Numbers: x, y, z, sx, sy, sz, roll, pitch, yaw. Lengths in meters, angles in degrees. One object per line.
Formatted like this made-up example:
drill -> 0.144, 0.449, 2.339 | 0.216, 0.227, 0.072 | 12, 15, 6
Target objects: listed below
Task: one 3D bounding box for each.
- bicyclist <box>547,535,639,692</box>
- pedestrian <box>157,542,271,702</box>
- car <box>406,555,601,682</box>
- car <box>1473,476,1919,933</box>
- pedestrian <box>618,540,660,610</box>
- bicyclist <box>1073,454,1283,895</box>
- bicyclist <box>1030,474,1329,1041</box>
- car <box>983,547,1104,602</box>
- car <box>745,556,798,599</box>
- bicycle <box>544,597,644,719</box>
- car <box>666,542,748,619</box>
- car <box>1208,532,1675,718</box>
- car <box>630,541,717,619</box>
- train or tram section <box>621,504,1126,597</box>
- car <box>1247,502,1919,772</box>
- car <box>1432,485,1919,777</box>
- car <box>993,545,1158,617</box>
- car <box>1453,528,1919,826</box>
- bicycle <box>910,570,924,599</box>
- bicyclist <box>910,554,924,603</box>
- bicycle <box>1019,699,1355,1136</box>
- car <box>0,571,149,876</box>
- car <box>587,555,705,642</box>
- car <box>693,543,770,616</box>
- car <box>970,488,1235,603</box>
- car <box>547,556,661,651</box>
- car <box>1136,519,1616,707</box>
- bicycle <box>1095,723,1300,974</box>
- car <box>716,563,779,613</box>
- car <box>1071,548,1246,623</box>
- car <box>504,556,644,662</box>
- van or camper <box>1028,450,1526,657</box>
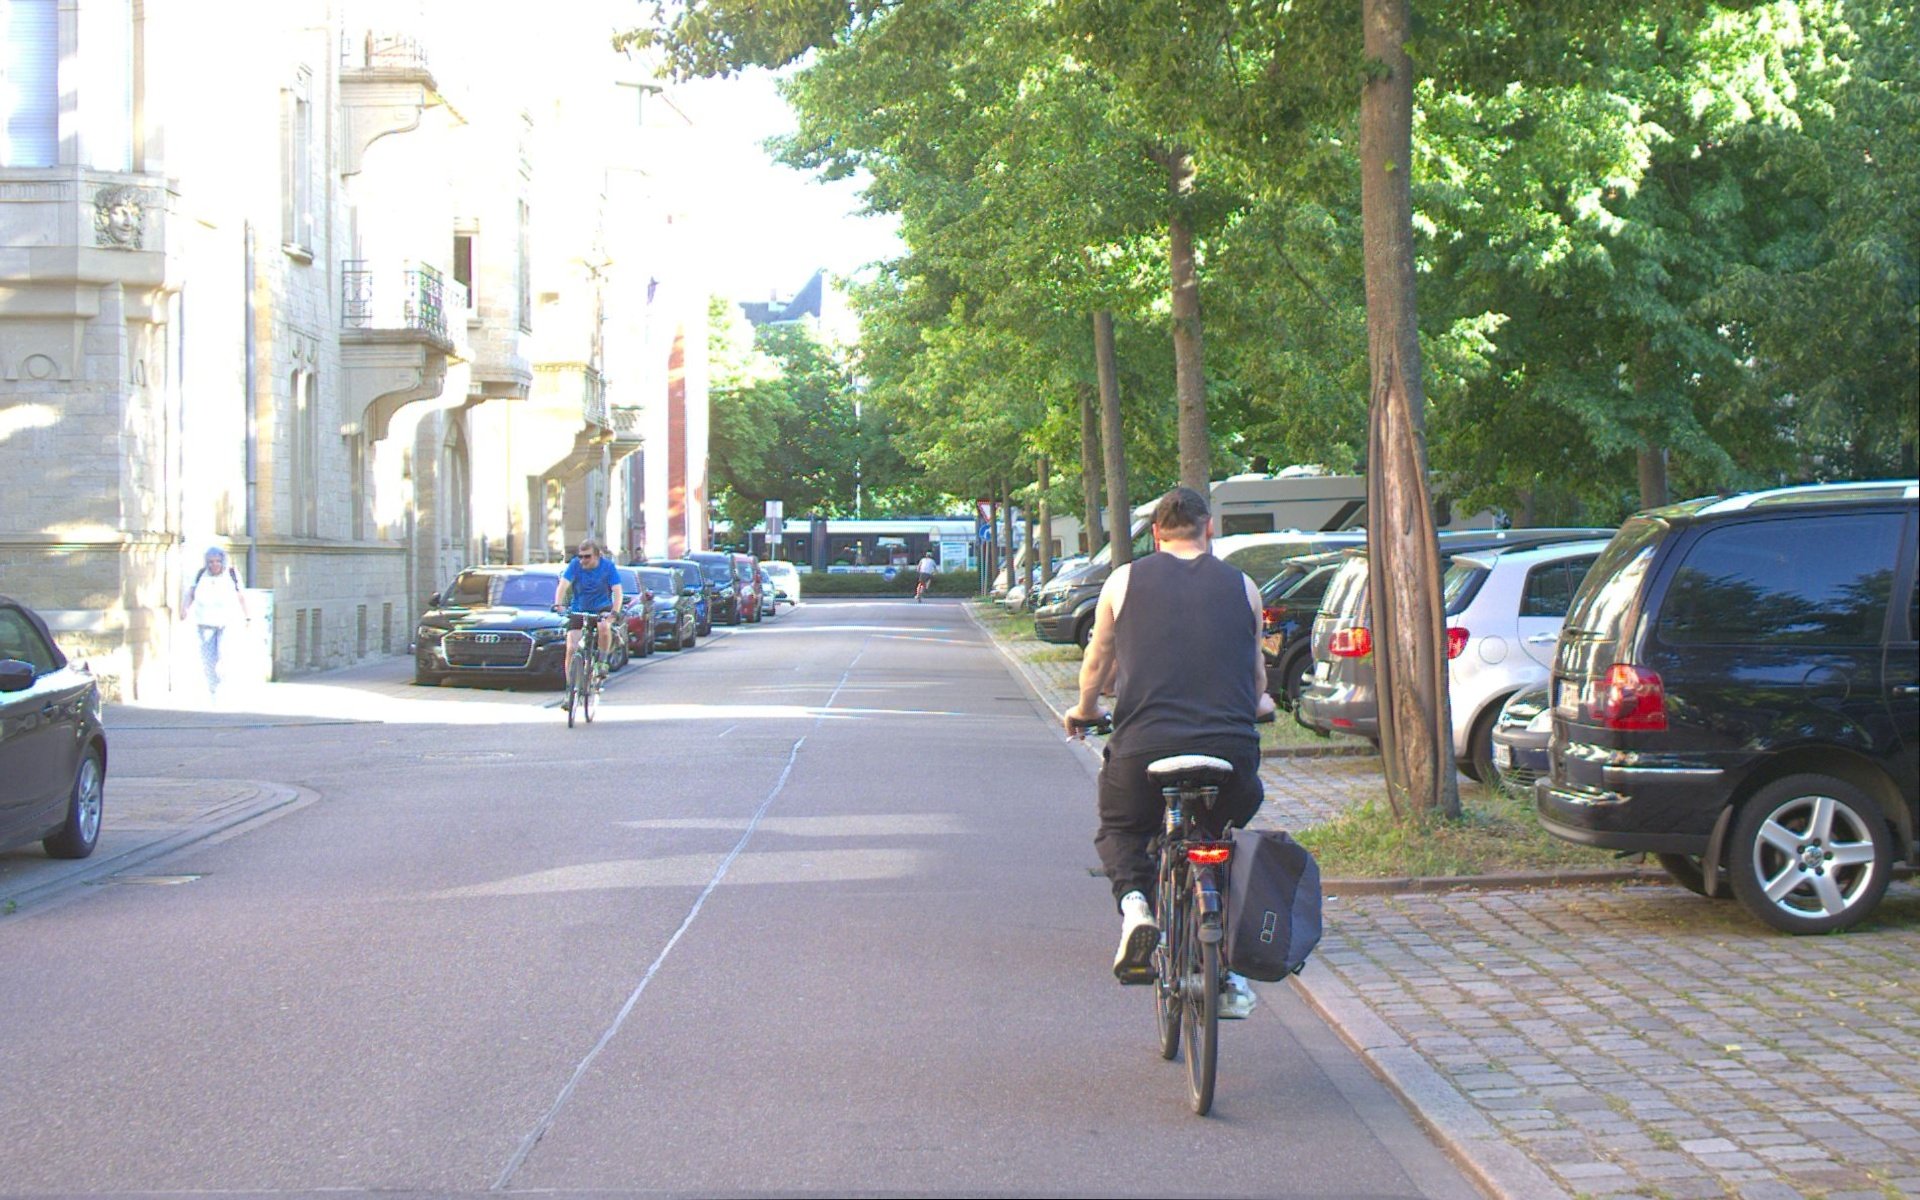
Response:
bicyclist -> -3.438, 0.123, 32.275 | 0.759, 1.449, 0.949 | -1, 0, -1
pedestrian -> -7.543, 0.213, 34.792 | 0.888, 1.572, 1.053 | -1, 1, 0
car -> -5.621, 0.205, 42.848 | 1.811, 1.422, 4.898 | 3, 0, -1
car -> 4.556, 0.304, 14.065 | 4.581, 1.671, 1.907 | -3, 1, 2
pedestrian -> -8.018, -0.623, 85.894 | 0.938, 1.736, 0.735 | 1, 0, 1
bicyclist -> 0.826, 0.272, 13.279 | 0.689, 1.621, 0.998 | 1, 0, -1
bicyclist -> 0.616, 0.435, 9.937 | 0.730, 1.542, 0.884 | 2, 0, -2
car -> 2.871, -0.863, 118.770 | 3.986, 1.797, 1.834 | 1, 0, -3
car -> -6.577, -0.792, 120.004 | 1.583, 1.371, 4.131 | 2, 1, 0
bicycle -> -3.431, 0.533, 32.371 | 0.757, 1.104, 1.907 | -1, 0, -1
car -> -6.203, -0.500, 84.522 | 1.640, 1.777, 4.354 | 2, 1, 0
car -> 4.442, 0.210, 32.124 | 4.068, 1.471, 1.694 | -3, 1, 1
car -> -5.936, -0.424, 71.399 | 1.595, 1.484, 2.737 | 4, 1, -2
train or tram section -> -3.877, -2.260, 162.244 | 23.799, 3.696, 4.287 | 1, 0, -22
car -> 4.510, 0.237, 24.712 | 4.538, 1.628, 1.813 | -3, 1, -6
car -> 5.249, 0.138, 21.725 | 4.273, 1.628, 1.690 | -3, 1, 3
car -> 2.986, -0.502, 89.087 | 4.082, 1.644, 1.641 | -3, 0, -2
car -> 4.743, 0.365, 19.016 | 3.721, 1.448, 1.589 | -3, 1, -1
bicycle -> -1.540, -0.542, 123.468 | 0.498, 1.002, 1.474 | 1, -1, -1
bicyclist -> -1.542, -0.773, 123.388 | 0.486, 1.738, 0.656 | 1, 0, -1
bicycle -> 0.602, 0.845, 9.830 | 0.737, 1.050, 1.956 | 2, 0, -2
car -> -5.299, 0.555, 16.782 | 1.635, 1.406, 4.333 | 3, 0, -1
car -> -5.640, -0.050, 62.156 | 1.675, 1.425, 4.550 | 2, 1, 0
car -> -6.043, -0.562, 91.188 | 1.689, 1.819, 4.273 | 2, 1, 0
car -> 3.943, -1.525, 96.431 | 7.146, 2.968, 2.465 | -2, 0, -3
car -> -5.771, 0.026, 56.033 | 1.628, 1.448, 3.838 | 1, 1, -3
car -> 4.159, 0.118, 34.892 | 4.619, 1.704, 1.833 | -2, 1, 1
bicycle -> 0.886, 0.922, 13.224 | 0.633, 0.796, 1.832 | 0, 1, -1
car -> -6.297, -0.372, 102.314 | 1.583, 1.339, 4.131 | 2, 1, 0
car -> 4.357, -0.313, 75.755 | 3.773, 1.594, 1.690 | 0, -1, 1
car -> -5.521, 0.125, 49.572 | 1.696, 1.448, 4.028 | 0, 0, -2
van or camper -> 4.657, -0.696, 51.514 | 7.147, 2.638, 2.464 | -3, 1, 2
